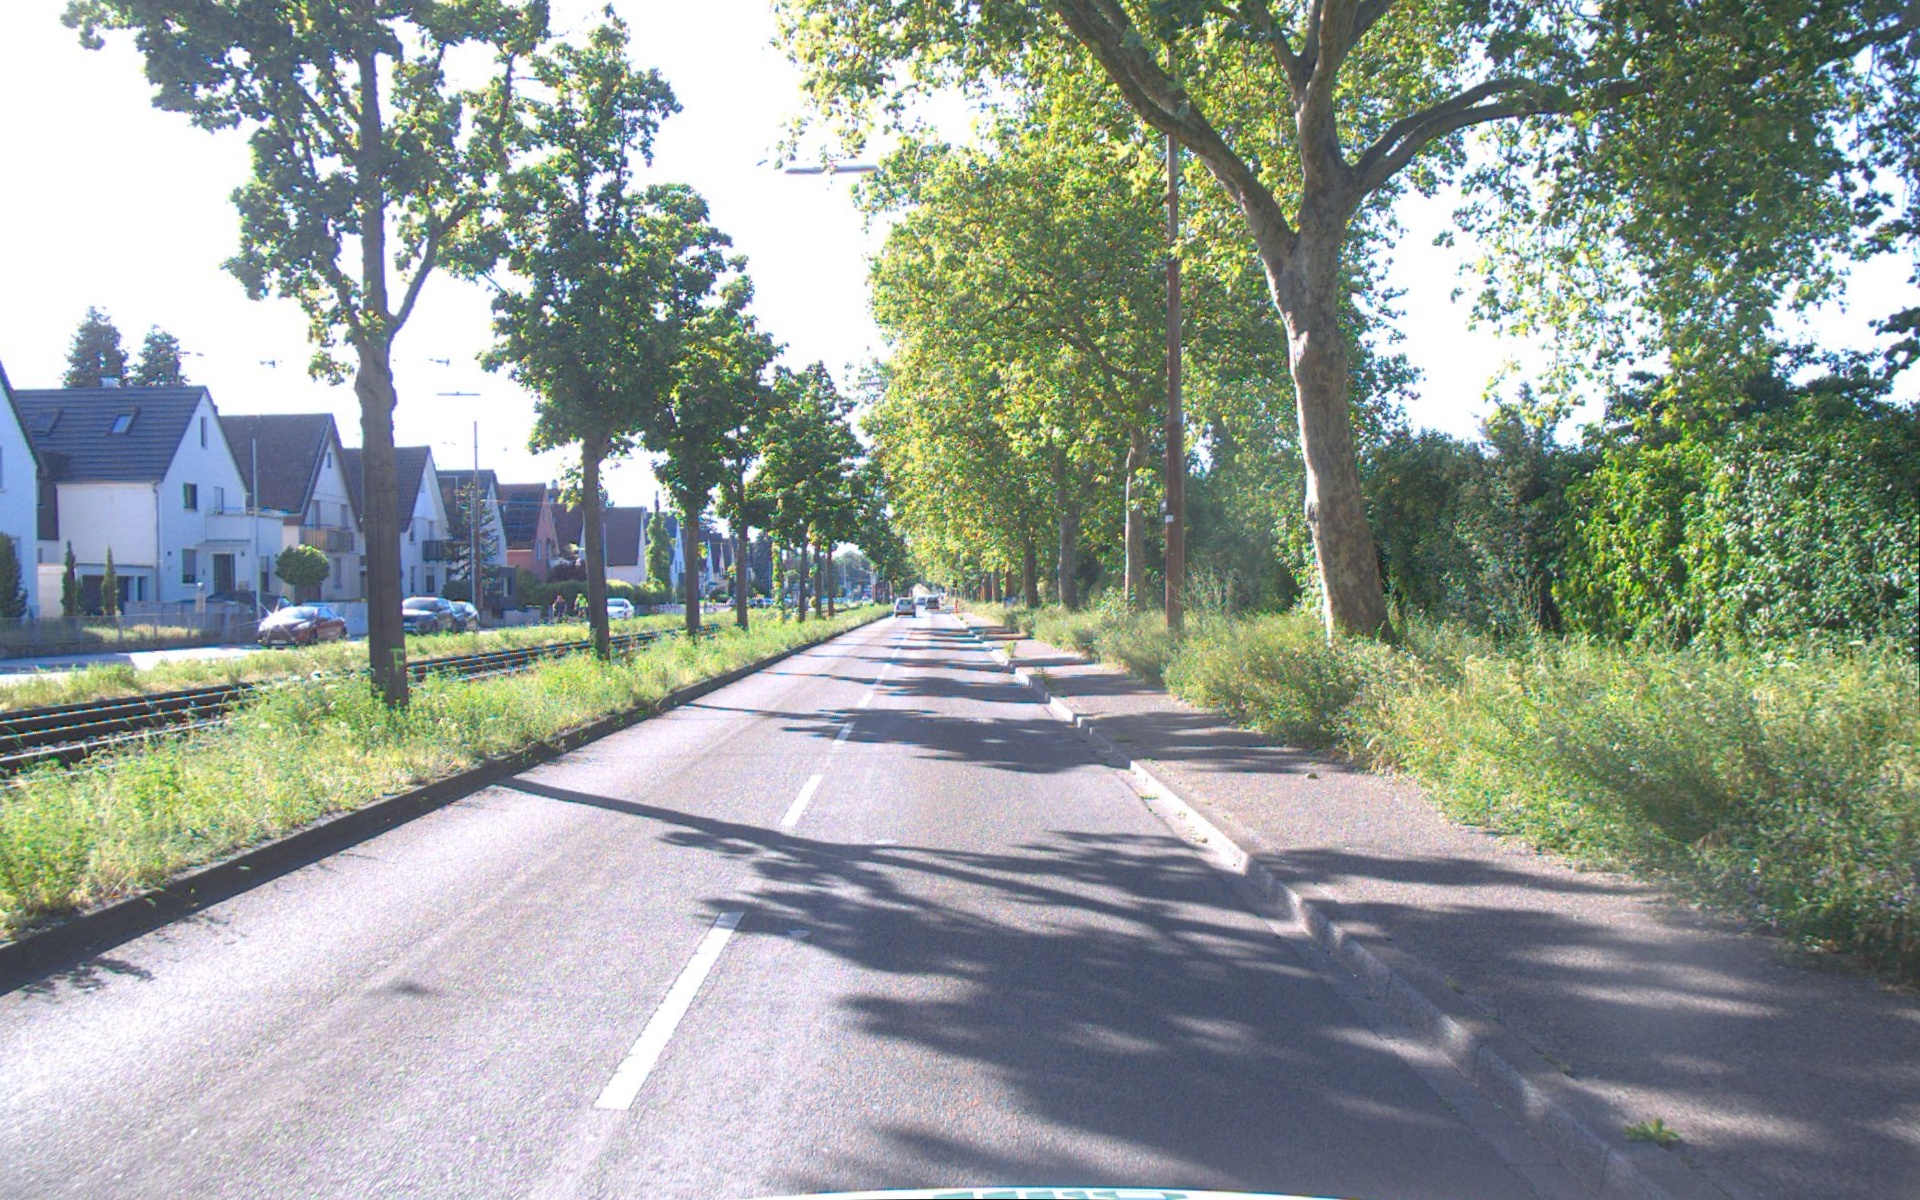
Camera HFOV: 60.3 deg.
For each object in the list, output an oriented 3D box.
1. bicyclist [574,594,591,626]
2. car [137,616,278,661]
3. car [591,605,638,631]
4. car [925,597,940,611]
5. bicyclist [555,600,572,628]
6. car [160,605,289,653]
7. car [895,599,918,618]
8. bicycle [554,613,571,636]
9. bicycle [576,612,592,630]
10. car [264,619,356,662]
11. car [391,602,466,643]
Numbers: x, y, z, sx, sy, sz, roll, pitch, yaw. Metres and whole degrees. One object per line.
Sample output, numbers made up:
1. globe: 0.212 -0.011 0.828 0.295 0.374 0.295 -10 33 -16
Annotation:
1. bicyclist: -19.986 0.508 87.582 0.674 1.681 0.881 -1 0 -1
2. car: -26.588 1.352 58.540 4.131 1.489 1.936 -1 0 -5
3. car: -23.179 1.190 111.097 1.952 1.627 4.733 -1 0 2
4. car: -3.214 0.466 192.614 1.725 1.539 3.276 -1 0 0
5. bicyclist: -19.985 0.693 83.383 0.674 1.360 0.881 -1 0 -1
6. car: -27.302 1.057 61.503 3.909 1.699 1.998 -1 0 -5
7. car: -4.072 0.612 126.038 1.703 1.425 3.276 -1 0 -1
8. bicycle: -19.986 1.219 83.267 0.390 1.088 1.879 -1 0 0
9. bicycle: -19.938 1.101 87.724 0.390 0.944 2.096 -1 0 0
10. car: -21.684 1.335 55.279 1.463 1.349 4.000 -1 0 0
11. car: -21.650 0.887 67.525 1.610 1.595 4.386 -1 0 0
